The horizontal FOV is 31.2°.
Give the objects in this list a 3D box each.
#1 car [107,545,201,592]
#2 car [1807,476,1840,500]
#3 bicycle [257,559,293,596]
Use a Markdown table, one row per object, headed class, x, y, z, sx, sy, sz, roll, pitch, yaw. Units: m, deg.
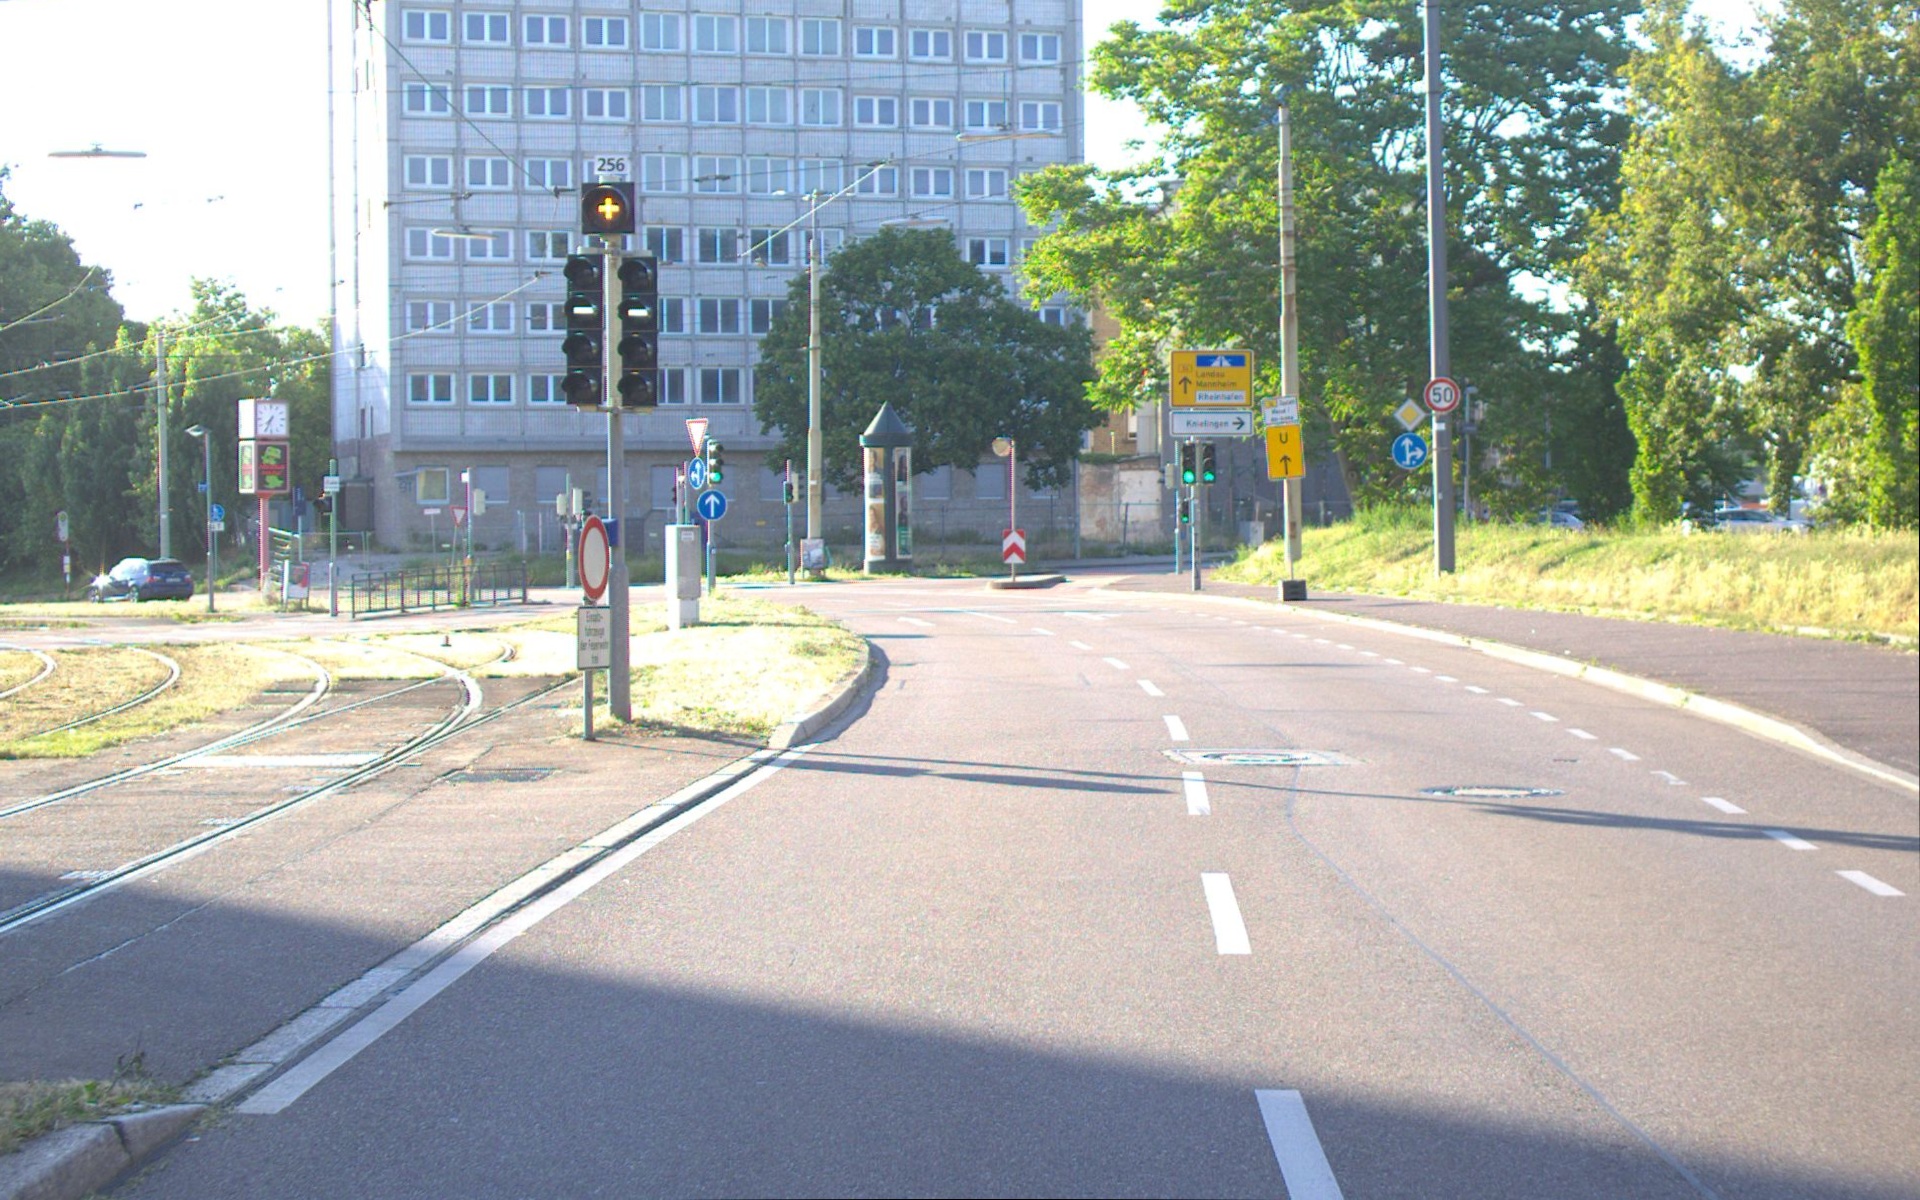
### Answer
| class | x | y | z | sx | sy | sz | roll | pitch | yaw |
| --- | --- | --- | --- | --- | --- | --- | --- | --- | --- |
| car | -25.260 | -0.992 | 107.692 | 1.772 | 1.417 | 3.856 | -2 | 1 | -31 |
| car | 58.097 | -7.569 | 231.361 | 1.860 | 1.538 | 3.997 | -1 | 1 | 18 |
| bicycle | -17.816 | -0.594 | 89.422 | 0.553 | 0.914 | 1.743 | -3 | 2 | -1 |
